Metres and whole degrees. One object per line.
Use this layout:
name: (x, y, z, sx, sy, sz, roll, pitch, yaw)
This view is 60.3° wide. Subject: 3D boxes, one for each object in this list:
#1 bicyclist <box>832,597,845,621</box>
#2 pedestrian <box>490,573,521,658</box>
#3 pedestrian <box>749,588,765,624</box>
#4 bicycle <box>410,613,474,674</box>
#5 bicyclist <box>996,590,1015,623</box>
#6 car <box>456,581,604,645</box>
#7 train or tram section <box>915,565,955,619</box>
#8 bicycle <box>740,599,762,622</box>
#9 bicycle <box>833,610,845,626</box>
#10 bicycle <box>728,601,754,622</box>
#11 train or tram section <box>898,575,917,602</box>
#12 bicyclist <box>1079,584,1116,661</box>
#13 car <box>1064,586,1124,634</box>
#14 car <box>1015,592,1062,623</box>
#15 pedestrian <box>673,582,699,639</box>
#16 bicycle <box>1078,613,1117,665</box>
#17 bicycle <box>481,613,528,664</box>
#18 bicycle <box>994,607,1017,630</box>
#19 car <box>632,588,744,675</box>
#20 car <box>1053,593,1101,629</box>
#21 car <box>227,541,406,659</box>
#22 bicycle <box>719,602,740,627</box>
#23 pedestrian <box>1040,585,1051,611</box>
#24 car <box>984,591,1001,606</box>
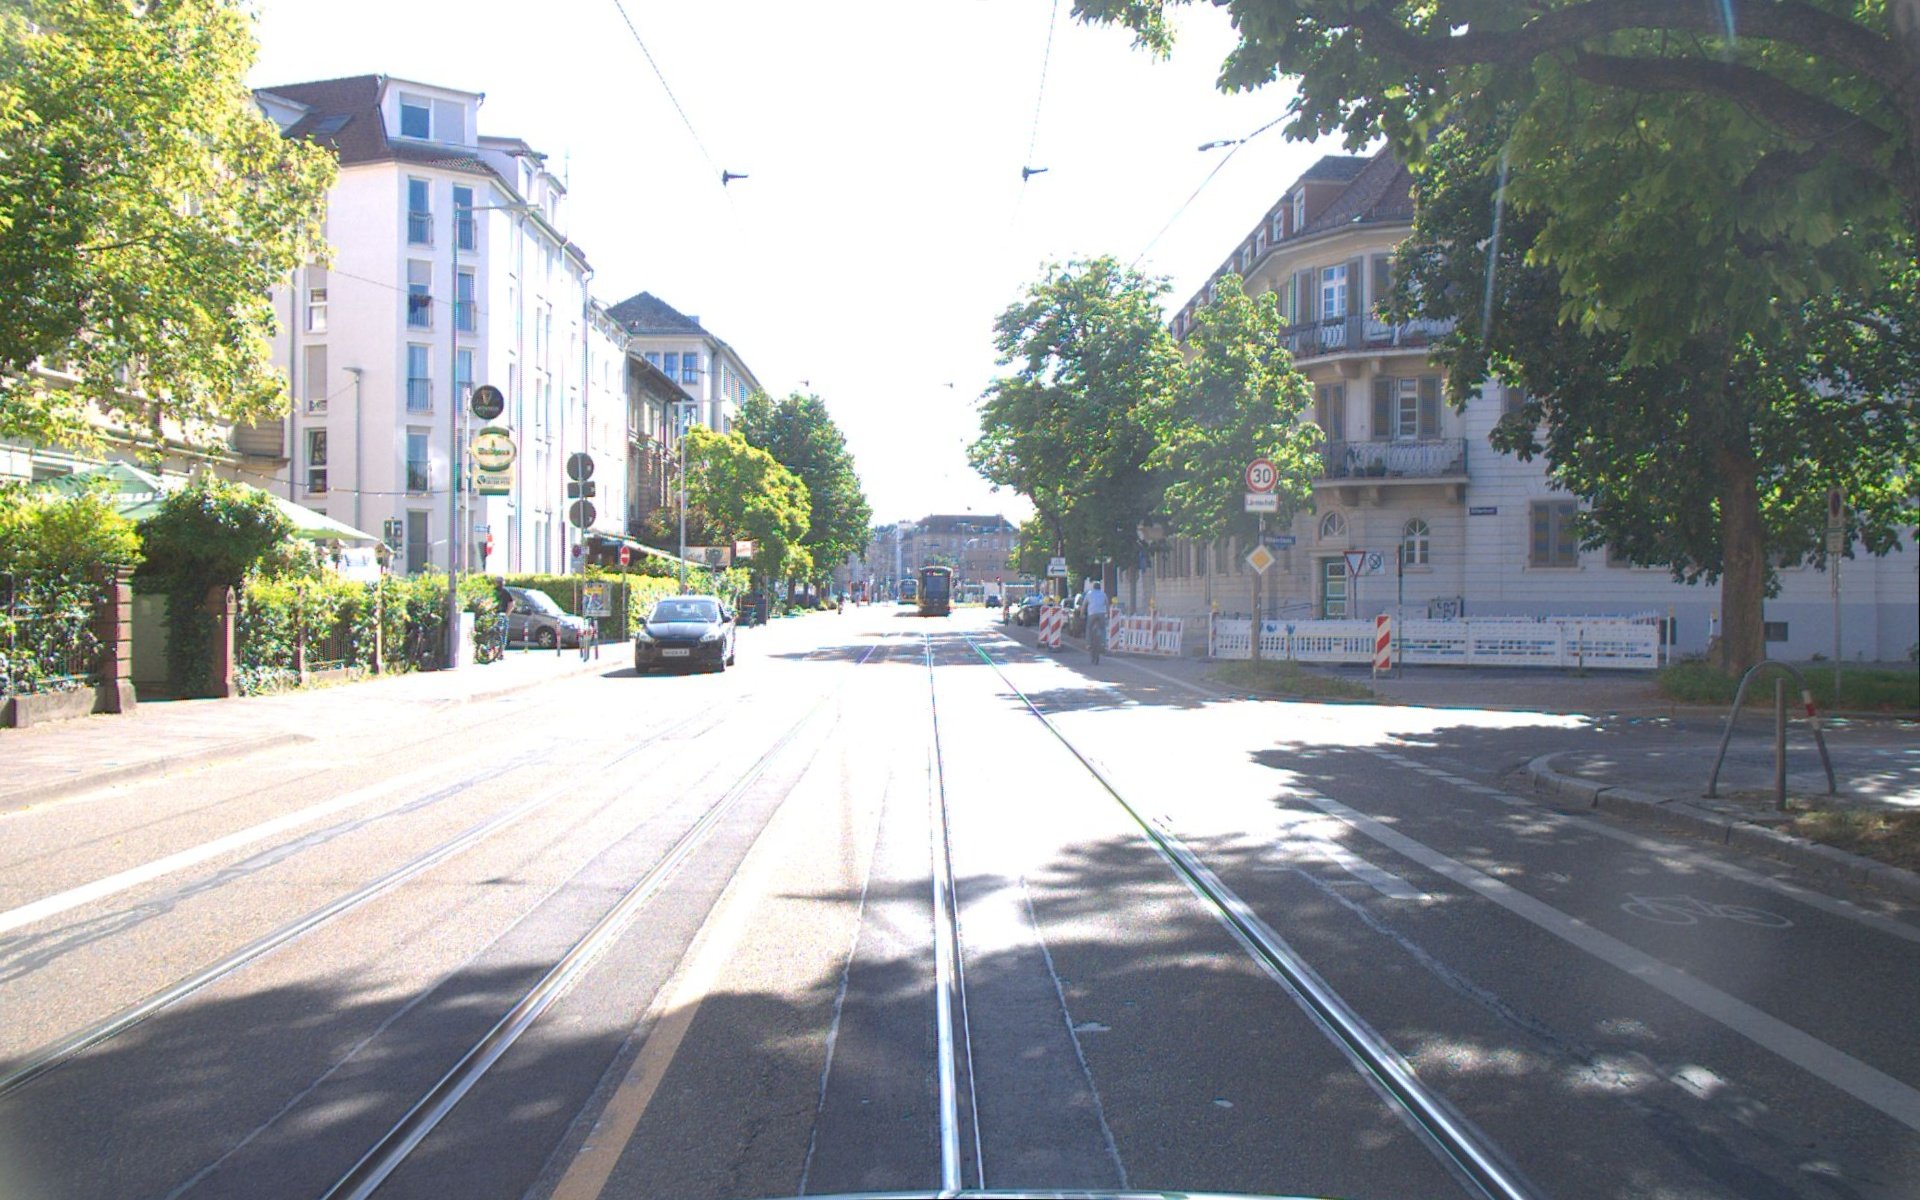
bicyclist: (-8.662, 0.627, 118.139, 0.730, 1.627, 1.118, -3, 0, 0)
pedestrian: (-9.820, 0.334, 35.731, 0.546, 1.813, 0.538, 0, 0, -5)
pedestrian: (-10.438, 0.302, 84.960, 0.563, 1.863, 0.690, 0, 0, 18)
bicycle: (-9.510, 0.784, 30.408, 0.503, 1.056, 2.222, 0, 0, -1)
bicyclist: (2.342, 0.327, 85.002, 0.690, 1.704, 1.102, 2, 1, 18)
car: (-12.787, 0.404, 49.194, 3.957, 1.839, 1.792, -1, -1, 20)
train or tram section: (-1.957, -0.636, 122.487, 2.687, 3.715, 13.781, 0, 1, -2)
bicycle: (-10.961, 0.561, 86.820, 0.632, 1.163, 1.906, 2, 0, 7)
bicycle: (-8.654, 1.275, 118.346, 0.730, 1.100, 1.899, -3, 0, 0)
bicycle: (-11.273, 0.585, 85.173, 0.623, 1.064, 2.023, 0, 0, 15)
train or tram section: (-7.509, -1.658, 236.928, 2.687, 3.715, 13.781, 0, 1, -2)
bicyclist: (3.127, 0.515, 37.712, 0.723, 1.715, 0.972, 1, 0, 1)
car: (4.929, 0.353, 61.389, 1.774, 1.654, 4.583, -2, 0, -1)
car: (4.017, 0.363, 85.600, 1.786, 1.484, 4.814, -2, 0, -5)
pedestrian: (-8.848, 0.335, 53.428, 0.677, 1.799, 0.866, 0, 0, -1)
bicycle: (3.117, 0.867, 37.724, 0.723, 1.113, 2.111, 1, 0, 1)
bicycle: (-9.437, 0.787, 34.299, 0.516, 0.998, 1.777, 0, 0, -1)
bicycle: (2.326, 0.952, 85.005, 0.690, 1.124, 1.718, 2, 1, 18)
car: (-5.521, 0.591, 34.032, 1.828, 1.604, 4.584, -2, 0, -4)
car: (4.845, 0.420, 69.044, 1.688, 1.406, 4.356, -2, 0, 0)
car: (-16.614, 0.038, 42.989, 1.846, 2.891, 4.786, 0, -1, 15)
bicycle: (-10.368, 0.643, 74.407, 0.625, 1.077, 1.743, 2, 0, 0)
pedestrian: (6.283, -0.178, 121.478, 0.670, 1.882, 0.955, -1, 0, -2)
car: (3.652, -0.181, 186.285, 1.751, 1.632, 3.714, 1, 1, 3)
